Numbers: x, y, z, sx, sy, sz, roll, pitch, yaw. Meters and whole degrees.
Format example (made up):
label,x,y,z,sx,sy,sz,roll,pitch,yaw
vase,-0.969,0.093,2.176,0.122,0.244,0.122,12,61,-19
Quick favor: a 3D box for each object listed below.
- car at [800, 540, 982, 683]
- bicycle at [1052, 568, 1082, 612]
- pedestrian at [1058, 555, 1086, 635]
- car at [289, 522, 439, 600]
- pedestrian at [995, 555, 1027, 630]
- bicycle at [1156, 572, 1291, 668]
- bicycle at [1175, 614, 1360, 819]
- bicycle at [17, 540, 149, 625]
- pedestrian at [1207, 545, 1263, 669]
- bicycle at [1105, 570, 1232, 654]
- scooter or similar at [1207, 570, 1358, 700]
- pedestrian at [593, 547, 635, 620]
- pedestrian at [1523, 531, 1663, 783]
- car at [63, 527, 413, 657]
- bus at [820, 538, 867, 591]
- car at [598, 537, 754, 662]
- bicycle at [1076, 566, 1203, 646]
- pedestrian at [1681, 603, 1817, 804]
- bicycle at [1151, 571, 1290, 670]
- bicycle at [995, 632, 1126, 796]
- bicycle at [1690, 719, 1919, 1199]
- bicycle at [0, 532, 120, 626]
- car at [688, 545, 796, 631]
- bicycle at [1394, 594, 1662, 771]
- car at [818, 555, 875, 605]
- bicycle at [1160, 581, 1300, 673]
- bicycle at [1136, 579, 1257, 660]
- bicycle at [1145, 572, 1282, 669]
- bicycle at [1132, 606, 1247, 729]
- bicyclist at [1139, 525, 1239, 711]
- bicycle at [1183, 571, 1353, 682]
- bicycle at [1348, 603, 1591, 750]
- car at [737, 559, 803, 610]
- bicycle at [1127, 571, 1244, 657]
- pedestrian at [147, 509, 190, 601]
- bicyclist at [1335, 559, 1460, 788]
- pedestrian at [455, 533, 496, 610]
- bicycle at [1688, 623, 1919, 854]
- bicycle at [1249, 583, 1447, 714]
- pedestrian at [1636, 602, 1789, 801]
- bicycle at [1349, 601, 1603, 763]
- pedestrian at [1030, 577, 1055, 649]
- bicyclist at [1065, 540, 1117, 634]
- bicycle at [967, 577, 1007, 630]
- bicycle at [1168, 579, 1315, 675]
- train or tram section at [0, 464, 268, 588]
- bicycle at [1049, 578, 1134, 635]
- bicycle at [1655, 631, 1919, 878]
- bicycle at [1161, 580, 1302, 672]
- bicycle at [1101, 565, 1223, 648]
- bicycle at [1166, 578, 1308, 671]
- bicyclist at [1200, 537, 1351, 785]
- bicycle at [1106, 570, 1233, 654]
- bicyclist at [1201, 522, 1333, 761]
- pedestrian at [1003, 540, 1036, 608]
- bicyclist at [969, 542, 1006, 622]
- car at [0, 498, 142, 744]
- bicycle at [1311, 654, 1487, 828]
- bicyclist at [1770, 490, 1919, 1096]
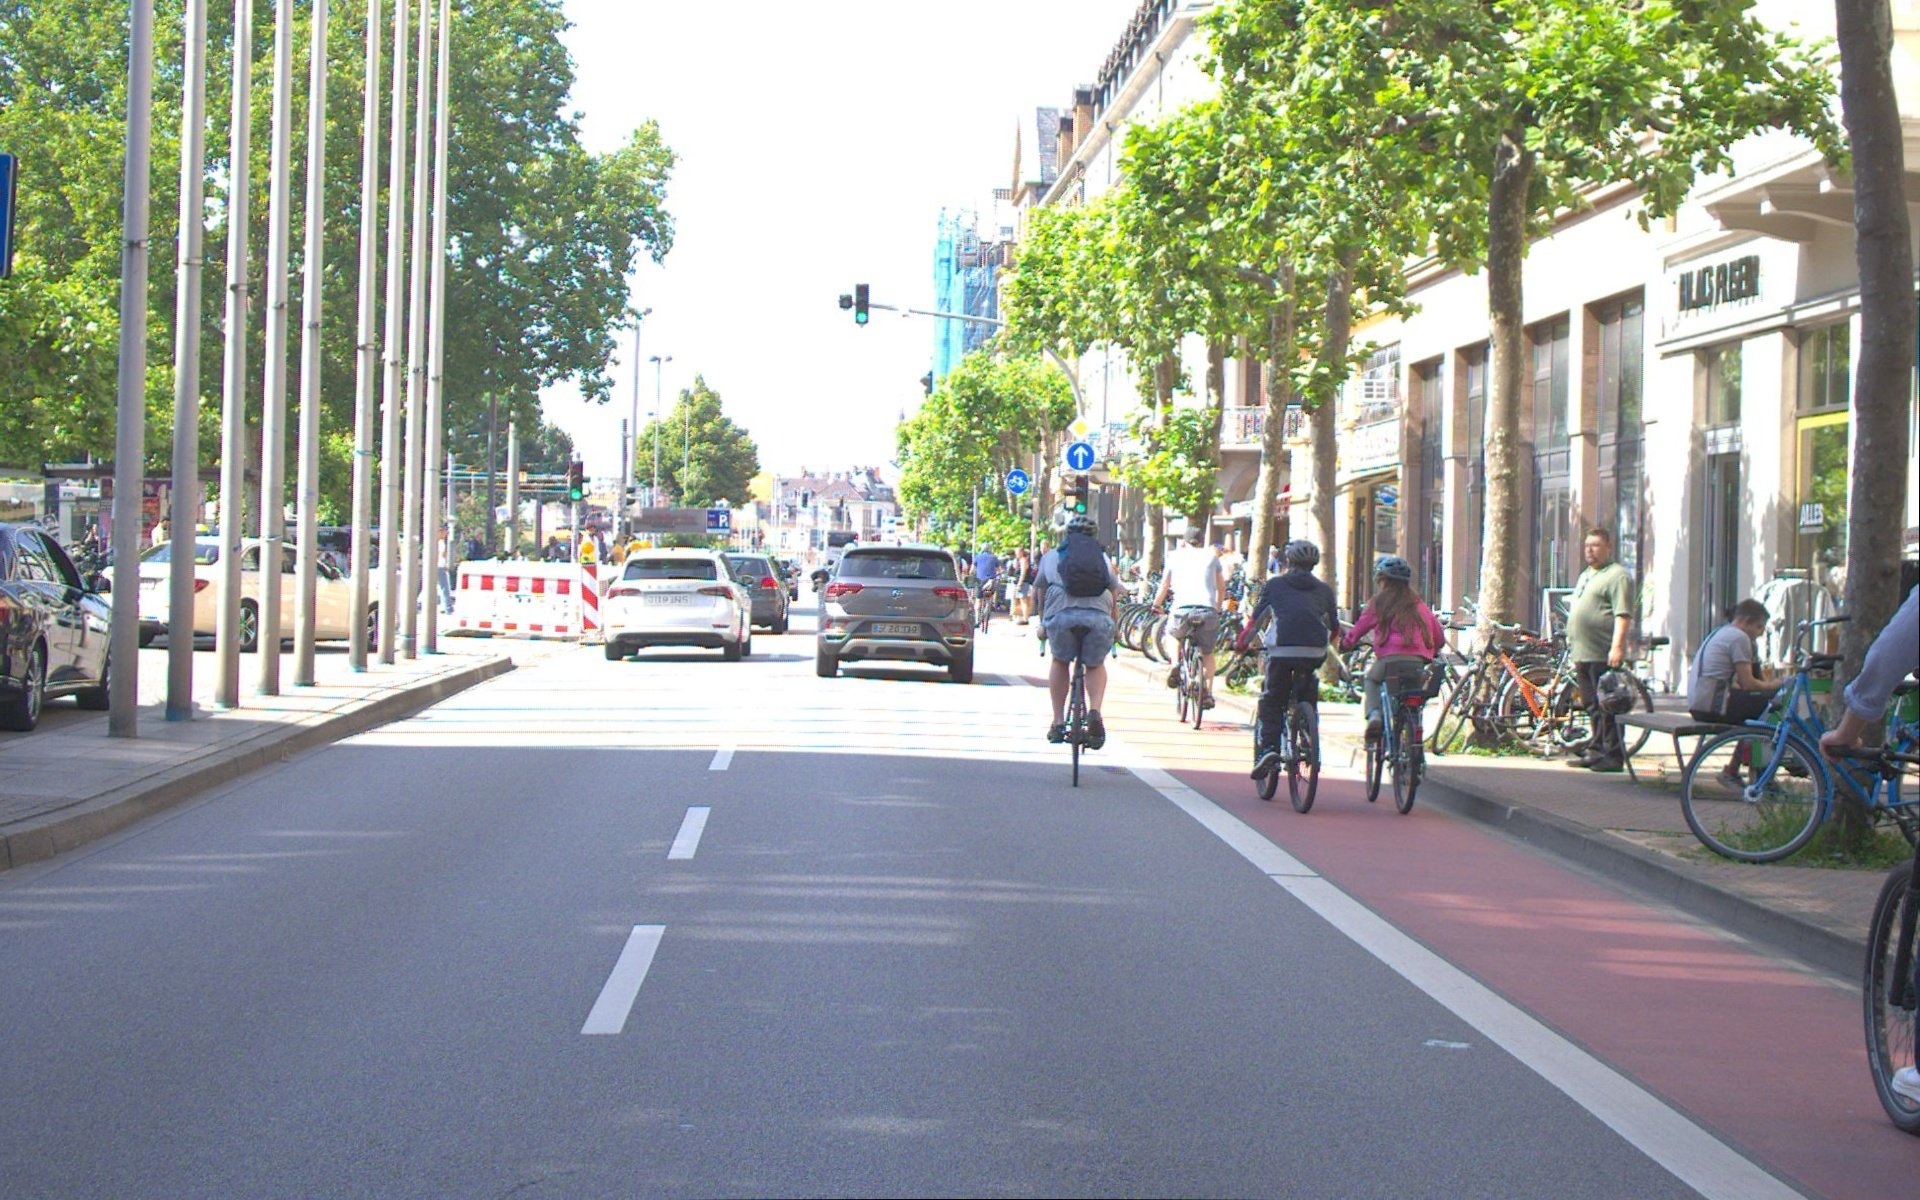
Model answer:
label,x,y,z,sx,sy,sz,roll,pitch,yaw
car,-0.847,0.096,39.799,1.845,1.554,4.001,1,1,-5
bicycle,2.821,-0.263,90.599,0.400,1.110,1.424,1,2,19
pedestrian,2.282,-0.093,70.196,0.549,1.625,0.589,0,0,1
car,-15.864,-1.023,91.743,1.861,1.948,4.756,2,0,19
pedestrian,1.209,-0.174,81.118,0.610,1.733,0.678,-3,0,-4
bicycle,3.499,0.266,45.755,1.728,1.213,0.477,2,1,0
bicycle,1.853,0.684,21.042,0.698,1.123,2.082,3,0,-6
bicycle,-13.036,-0.263,51.138,1.781,1.211,0.663,2,1,-5
pedestrian,3.639,0.092,45.456,0.615,1.607,0.745,2,1,-1
bicycle,3.159,0.180,52.204,1.844,1.197,0.608,2,1,0
scooter or similar,3.392,0.362,36.090,1.475,1.270,0.670,3,0,9
pedestrian,-7.565,-0.360,75.213,0.633,1.590,0.686,2,0,19
pedestrian,4.420,0.383,24.036,0.639,1.683,0.843,4,1,-5
car,-9.367,-0.112,45.024,1.894,1.536,4.855,3,1,25
bus,-8.225,-2.445,241.261,2.994,3.582,11.746,2,0,-3
car,-3.699,-0.041,45.292,1.845,1.554,4.000,1,1,-2
bicycle,2.959,0.095,56.613,1.932,1.253,0.705,2,1,-21
pedestrian,4.980,0.644,21.724,0.639,1.228,0.597,2,-1,-5
bicycle,3.369,0.262,44.534,1.728,1.213,0.477,2,1,0
bicycle,0.627,0.708,22.093,0.630,0.977,2.089,2,-1,-3
bicycle,2.551,0.931,8.757,0.698,1.123,2.082,3,0,-6
bicycle,-13.139,-0.307,49.745,1.781,1.304,0.663,2,1,-5
car,-3.866,-0.236,61.211,1.845,1.444,4.001,1,1,-3
bicycle,4.129,0.592,25.092,1.840,1.193,0.673,2,0,5
car,-4.199,-0.748,126.353,1.845,1.662,4.001,3,1,-4
bicycle,3.465,0.344,44.177,1.728,1.105,0.477,2,1,0
bicycle,3.364,0.275,48.961,1.649,1.091,0.607,2,1,0
bicycle,3.333,0.262,45.258,1.728,1.213,0.477,2,1,0
bicycle,2.038,0.584,30.825,0.774,1.002,2.330,1,1,-2
bicyclist,2.044,0.155,30.801,0.774,1.629,0.851,1,1,-2
bicycle,3.665,0.308,41.013,1.931,1.244,0.736,2,1,0
bicycle,4.109,0.610,27.814,1.840,1.093,0.794,2,0,3
car,-5.606,-0.462,101.506,1.845,1.409,4.001,2,1,-3
bicycle,3.300,0.199,50.482,1.649,1.197,0.474,2,1,0
pedestrian,-15.376,-0.875,66.805,0.584,1.716,0.789,2,-4,0
bicyclist,2.651,0.435,20.881,0.600,1.353,0.721,0,1,-6
pedestrian,-11.383,-0.667,80.754,0.633,1.804,0.730,2,0,19
bicycle,4.867,0.755,18.753,1.774,1.193,0.578,2,1,-29
bicycle,3.818,0.467,33.916,1.840,1.182,0.670,3,0,3
pedestrian,4.862,0.648,22.241,0.787,1.239,0.576,2,-1,-5
bicycle,3.920,0.614,26.152,1.841,1.123,0.497,3,0,9
pedestrian,1.752,0.265,72.806,0.522,1.516,0.641,0,0,1
bicyclist,2.522,-0.255,66.162,0.573,1.791,0.857,-1,1,-37
bicycle,0.525,0.056,67.589,0.647,0.994,2.031,2,1,-2
bicycle,3.471,0.329,42.490,1.728,1.105,0.736,2,1,0
train or tram section,-28.270,-2.316,107.782,2.618,3.664,15.517,2,1,33
bicycle,2.527,0.118,66.173,0.600,1.078,1.839,-1,1,-37
bicycle,4.455,0.780,17.073,1.839,1.123,0.497,4,2,-10
bicycle,3.447,0.333,43.757,1.728,1.105,0.402,2,1,0
bicycle,3.291,0.106,56.025,1.820,1.304,0.689,2,1,-22
bicycle,3.489,0.310,43.343,1.728,1.105,0.402,2,1,0
bicyclist,1.898,0.356,20.741,0.698,1.436,0.791,3,0,-6
bicycle,3.143,0.179,51.697,1.844,1.197,0.545,2,1,0
bicyclist,1.970,0.268,22.162,0.630,1.476,1.198,2,-1,-3
pedestrian,1.352,-0.598,77.988,0.610,1.510,0.678,-3,0,-4
bicyclist,0.544,-0.352,67.526,0.647,1.545,0.817,2,0,-2
car,-7.193,0.071,24.607,1.760,1.594,4.710,2,1,-3
bicycle,2.641,0.831,20.894,0.600,0.922,2.088,0,1,-6
bicyclist,2.579,0.468,8.665,0.698,1.441,0.961,3,0,-6
